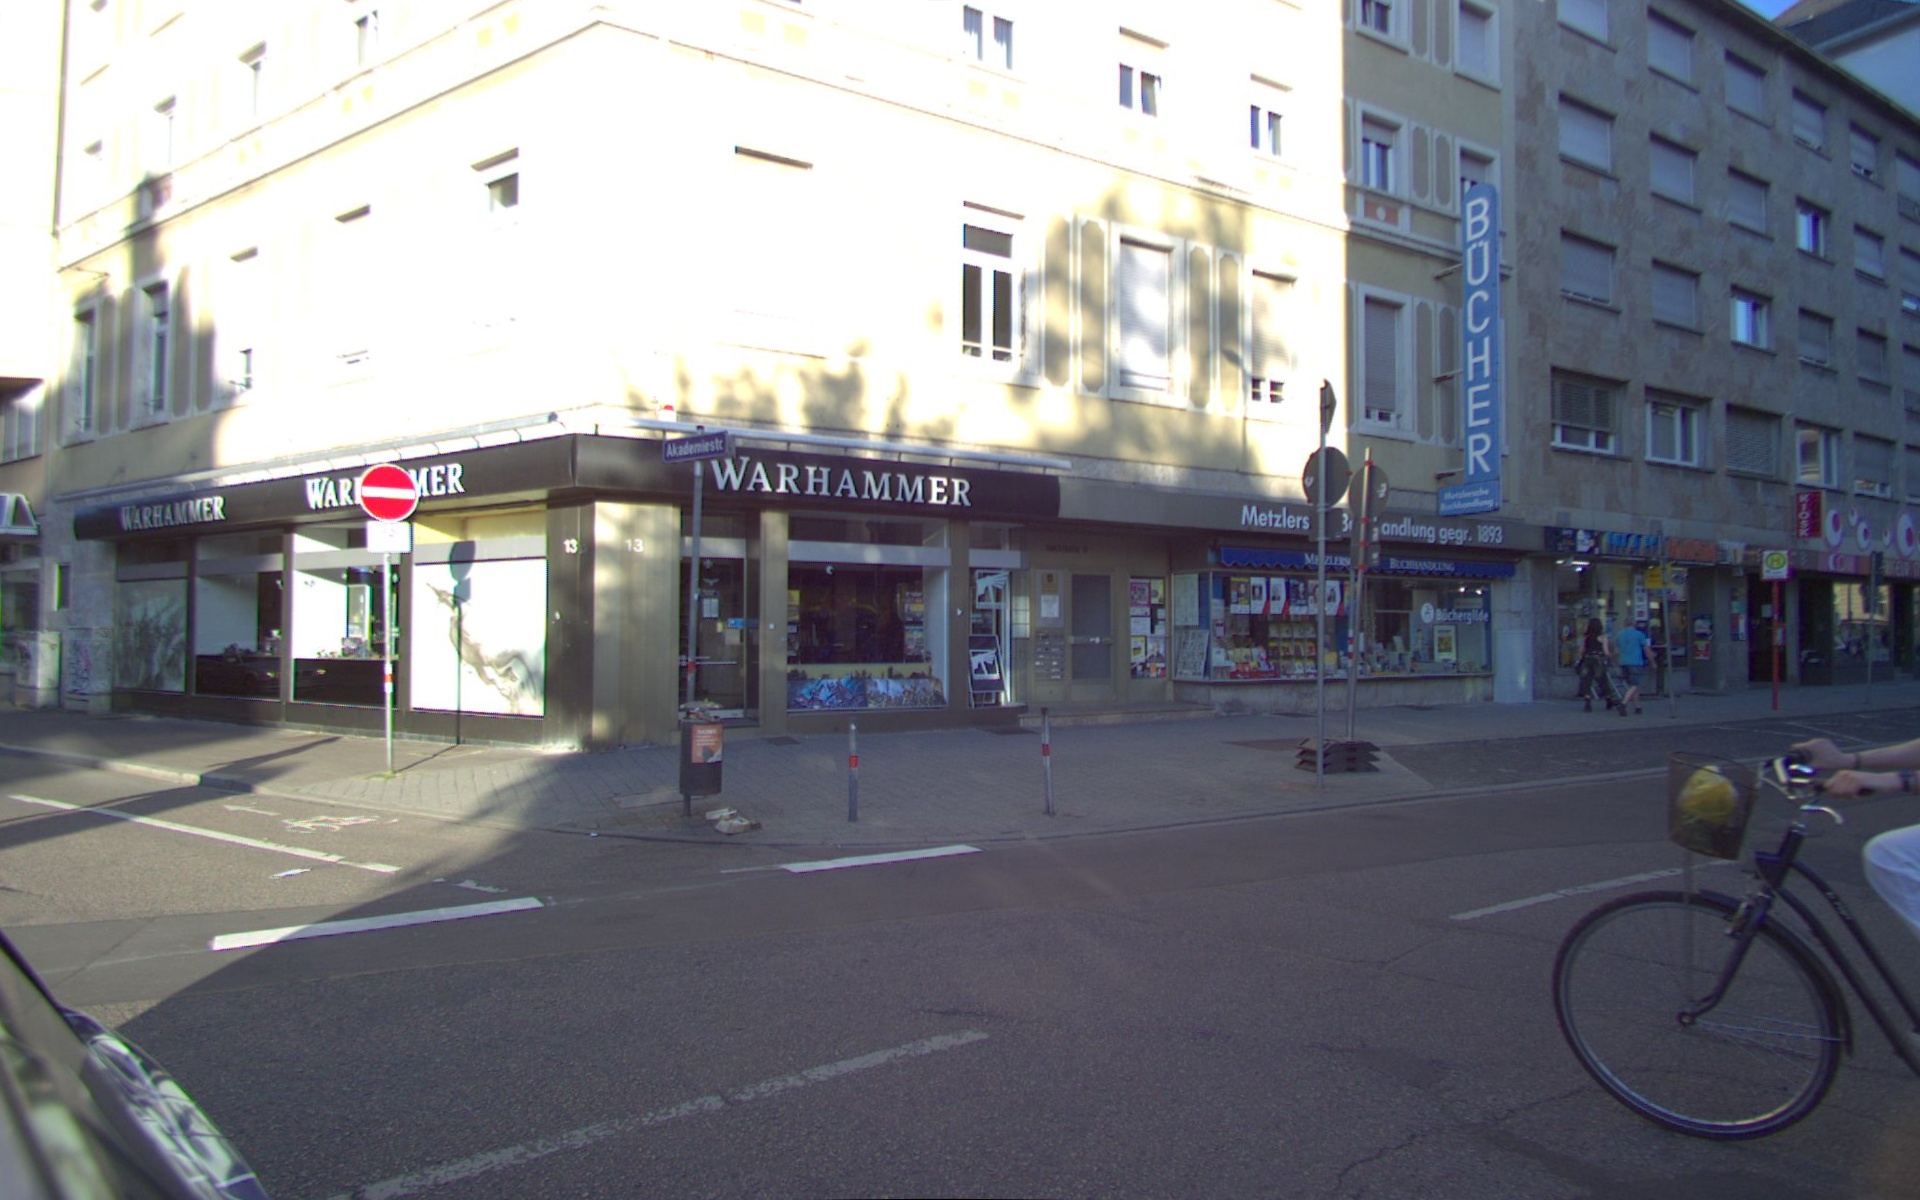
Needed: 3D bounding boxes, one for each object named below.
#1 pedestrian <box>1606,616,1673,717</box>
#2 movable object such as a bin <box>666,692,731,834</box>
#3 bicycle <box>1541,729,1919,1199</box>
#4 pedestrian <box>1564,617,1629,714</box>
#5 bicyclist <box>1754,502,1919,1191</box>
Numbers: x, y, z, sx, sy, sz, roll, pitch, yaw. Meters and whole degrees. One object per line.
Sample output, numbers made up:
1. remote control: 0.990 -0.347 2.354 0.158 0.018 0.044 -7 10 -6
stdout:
1. pedestrian: 11.902 1.145 17.727 0.789 1.720 0.667 1 -2 -29
2. movable object such as a bin: -2.085 1.283 8.075 0.353 1.072 0.358 0 -2 20
3. bicycle: 2.523 0.987 2.445 0.655 1.147 1.825 1 -1 -39
4. pedestrian: 11.501 1.166 18.293 0.789 1.720 0.667 1 -2 -29
5. bicyclist: 2.542 0.567 2.432 0.650 1.582 0.865 1 -2 -40
